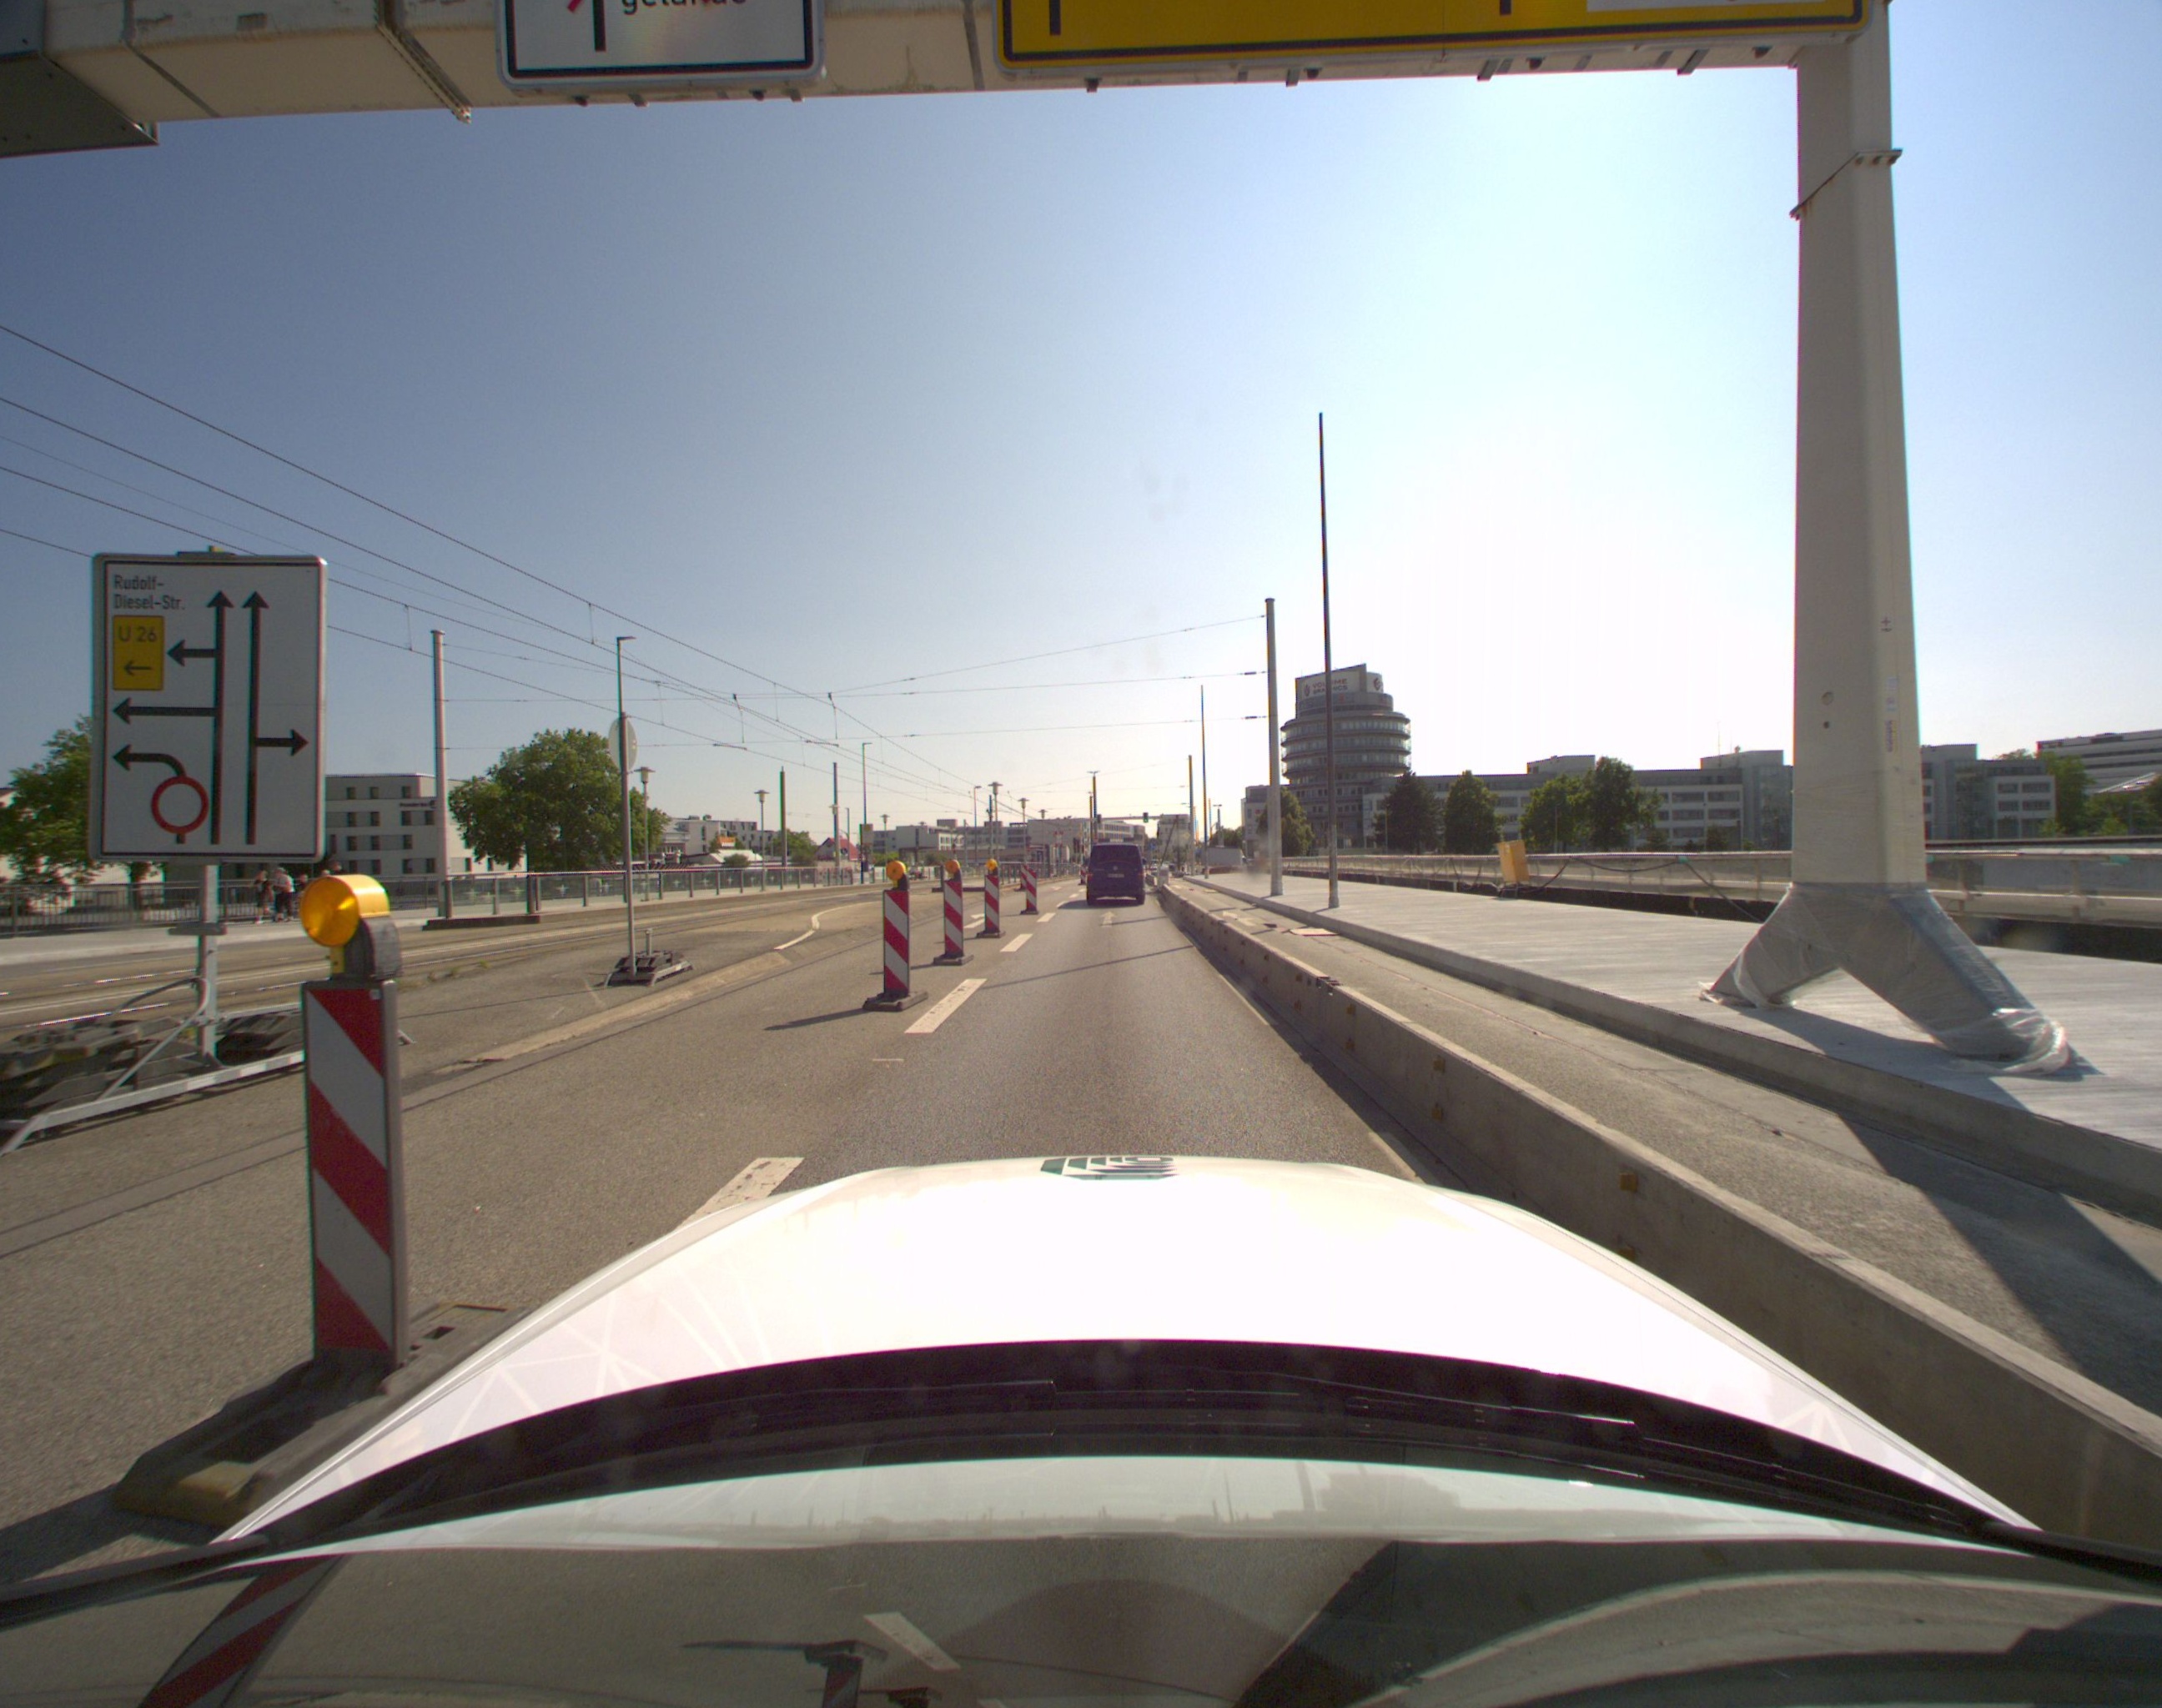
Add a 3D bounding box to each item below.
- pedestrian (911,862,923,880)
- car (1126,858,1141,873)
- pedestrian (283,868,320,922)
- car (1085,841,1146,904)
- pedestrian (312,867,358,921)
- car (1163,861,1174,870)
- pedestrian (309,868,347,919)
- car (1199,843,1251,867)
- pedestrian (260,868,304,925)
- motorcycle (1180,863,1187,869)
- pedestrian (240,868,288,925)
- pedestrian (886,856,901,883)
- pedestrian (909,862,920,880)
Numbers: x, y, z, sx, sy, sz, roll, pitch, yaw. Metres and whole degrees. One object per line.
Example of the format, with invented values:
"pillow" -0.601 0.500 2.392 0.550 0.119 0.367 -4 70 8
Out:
"pedestrian" -11.985 1.217 59.552 0.645 1.274 0.698 -1 -1 6
"car" 6.412 1.420 99.916 1.637 1.728 3.723 0 0 6
"pedestrian" -25.037 1.300 26.155 0.382 1.687 0.771 -2 0 4
"car" 1.135 0.568 27.248 1.880 1.934 4.002 0 0 2
"pedestrian" -24.304 1.292 26.546 0.749 1.687 0.732 -2 0 4
"car" 15.228 2.027 141.887 1.735 1.475 3.891 -1 -1 6
"pedestrian" -25.680 1.336 27.782 0.501 1.687 0.773 -2 0 4
"car" 17.858 0.091 100.980 5.961 2.887 2.335 0 0 -15
"pedestrian" -24.772 1.307 25.265 0.484 1.687 0.809 -2 0 4
"motorcycle" 22.334 2.653 177.084 1.154 1.242 3.017 -2 0 12
"pedestrian" -25.360 1.302 25.288 0.595 1.687 0.818 -2 0 4
"pedestrian" -11.970 0.997 51.992 0.655 1.654 0.742 -2 0 14
"pedestrian" -12.054 1.220 58.971 0.645 1.274 0.454 -1 -1 6
